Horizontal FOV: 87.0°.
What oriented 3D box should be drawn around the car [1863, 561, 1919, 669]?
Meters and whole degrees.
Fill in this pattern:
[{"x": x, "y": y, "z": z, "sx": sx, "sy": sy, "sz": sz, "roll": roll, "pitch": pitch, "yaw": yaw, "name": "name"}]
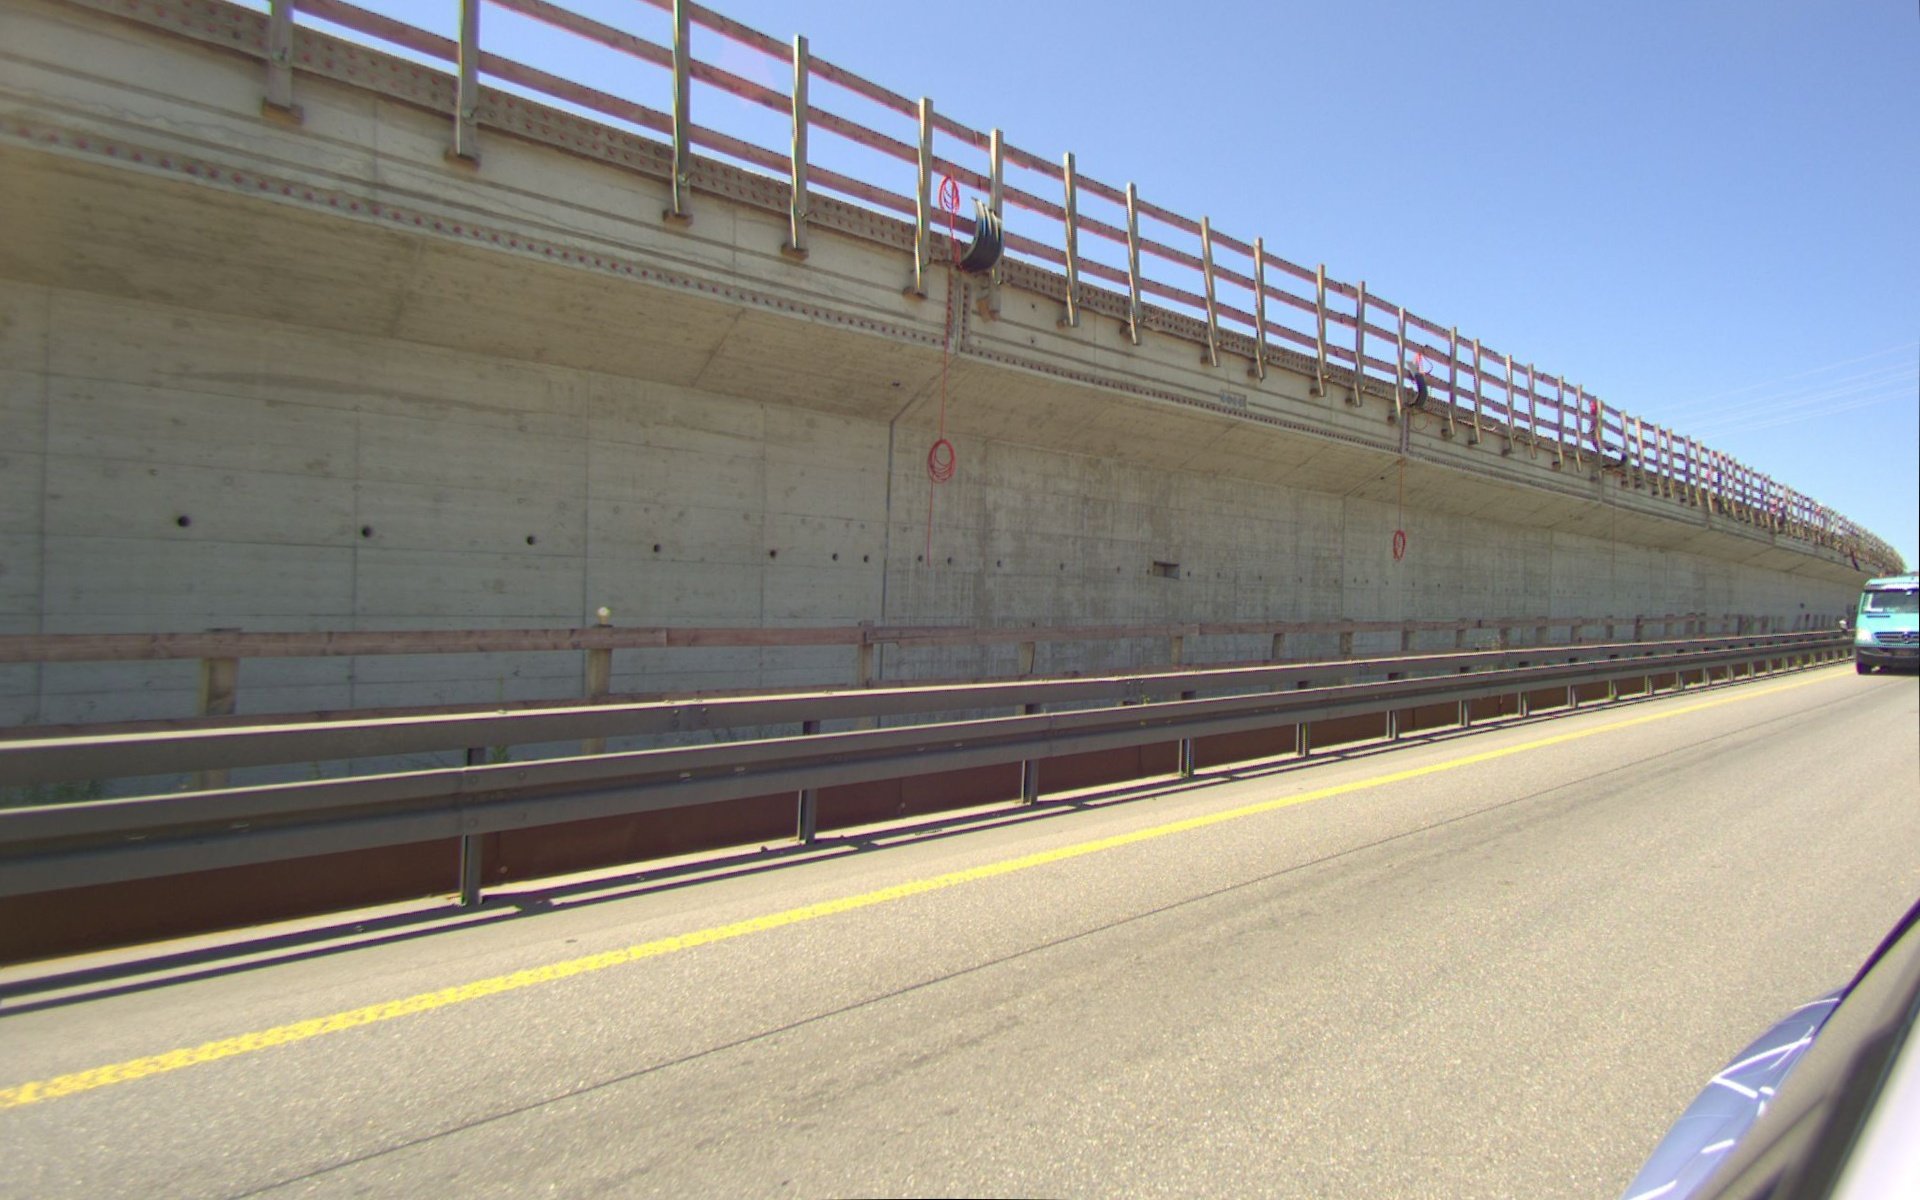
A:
[{"x": 24.049, "y": 0.332, "z": 24.746, "sx": 7.083, "sy": 2.411, "sz": 1.966, "roll": 0, "pitch": -2, "yaw": -41, "name": "car"}]
